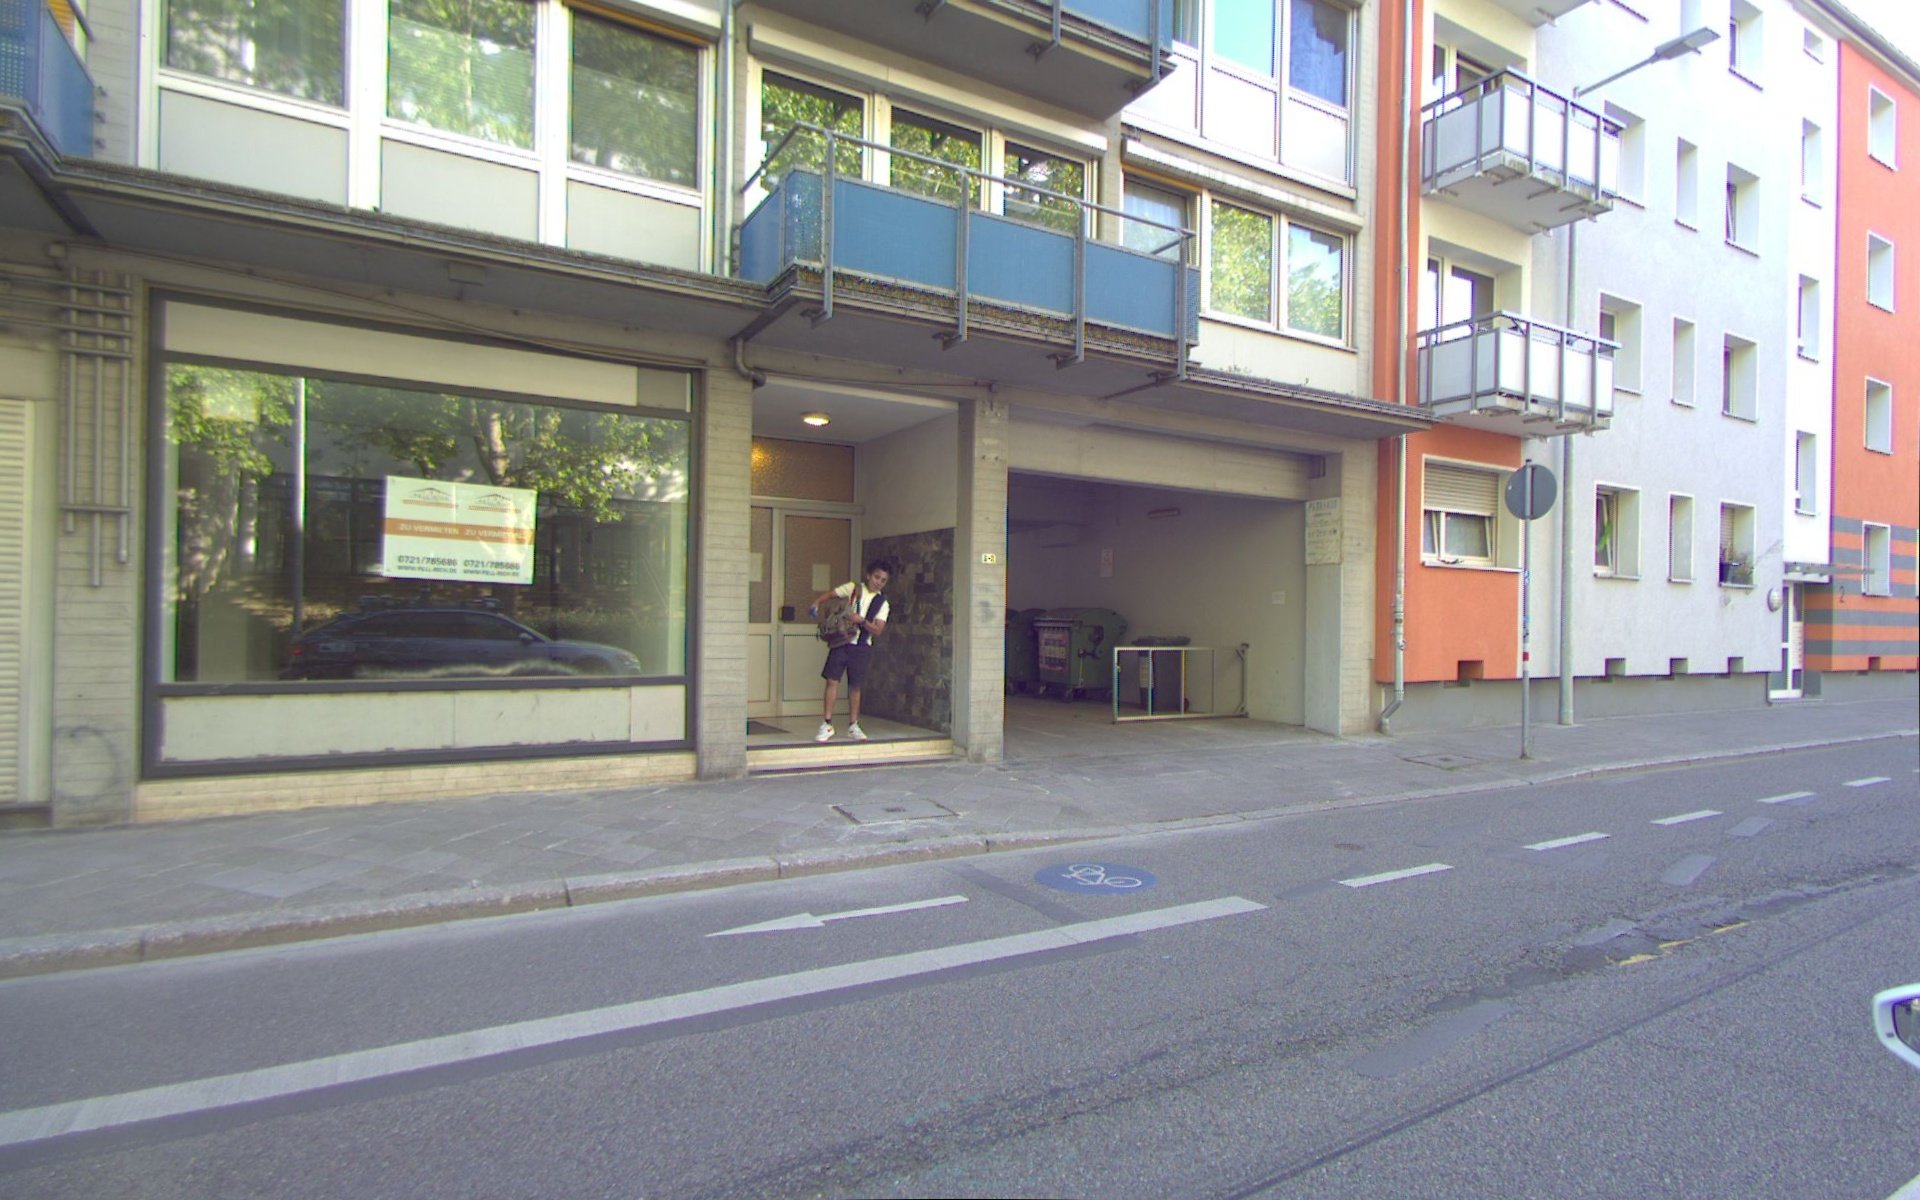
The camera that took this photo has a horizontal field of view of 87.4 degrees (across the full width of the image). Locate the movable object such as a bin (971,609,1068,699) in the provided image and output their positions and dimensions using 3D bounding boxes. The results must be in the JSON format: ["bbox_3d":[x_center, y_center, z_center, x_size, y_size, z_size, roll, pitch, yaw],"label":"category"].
[{"bbox_3d":[1.005,0.897,17.161,1.120,1.444,1.268,2,0,-28],"label":"movable object such as a bin"}]

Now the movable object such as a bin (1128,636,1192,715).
[{"bbox_3d":[2.885,1.080,14.496,0.713,1.094,0.533,2,0,-29],"label":"movable object such as a bin"}]

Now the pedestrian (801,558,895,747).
[{"bbox_3d":[-1.014,0.467,9.249,0.778,1.639,0.836,2,0,-5],"label":"pedestrian"}]

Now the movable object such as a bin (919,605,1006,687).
[{"bbox_3d":[0.029,0.839,18.706,1.120,1.444,1.268,2,0,-28],"label":"movable object such as a bin"}]

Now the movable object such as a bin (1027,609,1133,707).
[{"bbox_3d":[1.873,0.881,15.820,1.120,1.444,1.268,2,0,-28],"label":"movable object such as a bin"}]

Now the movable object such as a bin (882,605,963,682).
[{"bbox_3d":[-0.744,0.843,19.797,1.120,1.444,1.268,2,0,-28],"label":"movable object such as a bin"}]
